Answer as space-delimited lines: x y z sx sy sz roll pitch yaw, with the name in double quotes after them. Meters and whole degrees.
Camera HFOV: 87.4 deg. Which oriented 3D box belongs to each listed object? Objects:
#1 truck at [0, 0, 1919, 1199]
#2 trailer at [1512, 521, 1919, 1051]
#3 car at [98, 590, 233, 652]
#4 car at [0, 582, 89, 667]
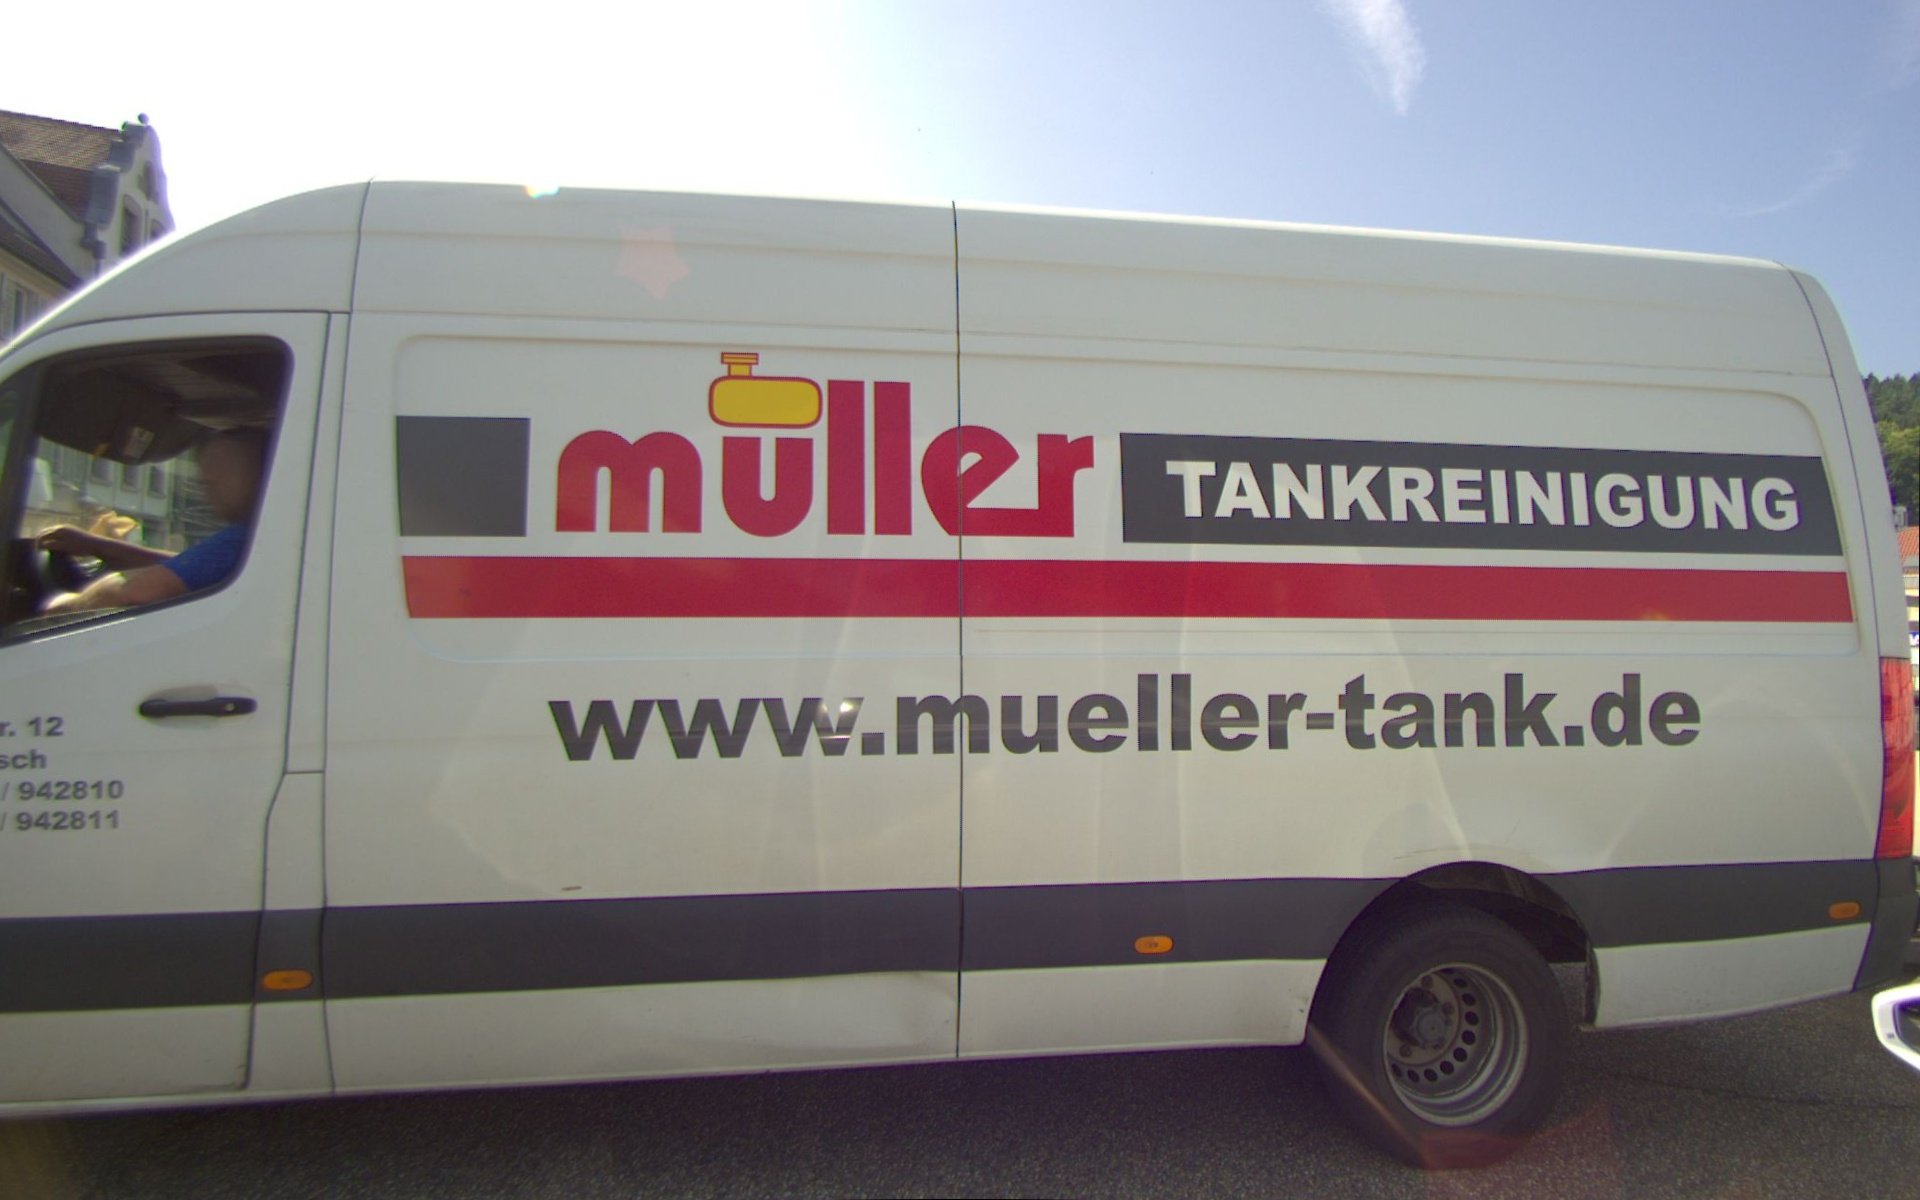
-0.378 0.064 3.467 7.001 2.735 2.109 1 -1 -7 "truck"
5.898 0.776 4.765 5.547 1.852 2.610 3 -1 -17 "trailer"
-21.027 0.521 26.768 1.727 1.467 3.775 3 -1 -22 "car"
-18.239 0.403 18.903 1.727 1.467 3.259 3 -1 -22 "car"
